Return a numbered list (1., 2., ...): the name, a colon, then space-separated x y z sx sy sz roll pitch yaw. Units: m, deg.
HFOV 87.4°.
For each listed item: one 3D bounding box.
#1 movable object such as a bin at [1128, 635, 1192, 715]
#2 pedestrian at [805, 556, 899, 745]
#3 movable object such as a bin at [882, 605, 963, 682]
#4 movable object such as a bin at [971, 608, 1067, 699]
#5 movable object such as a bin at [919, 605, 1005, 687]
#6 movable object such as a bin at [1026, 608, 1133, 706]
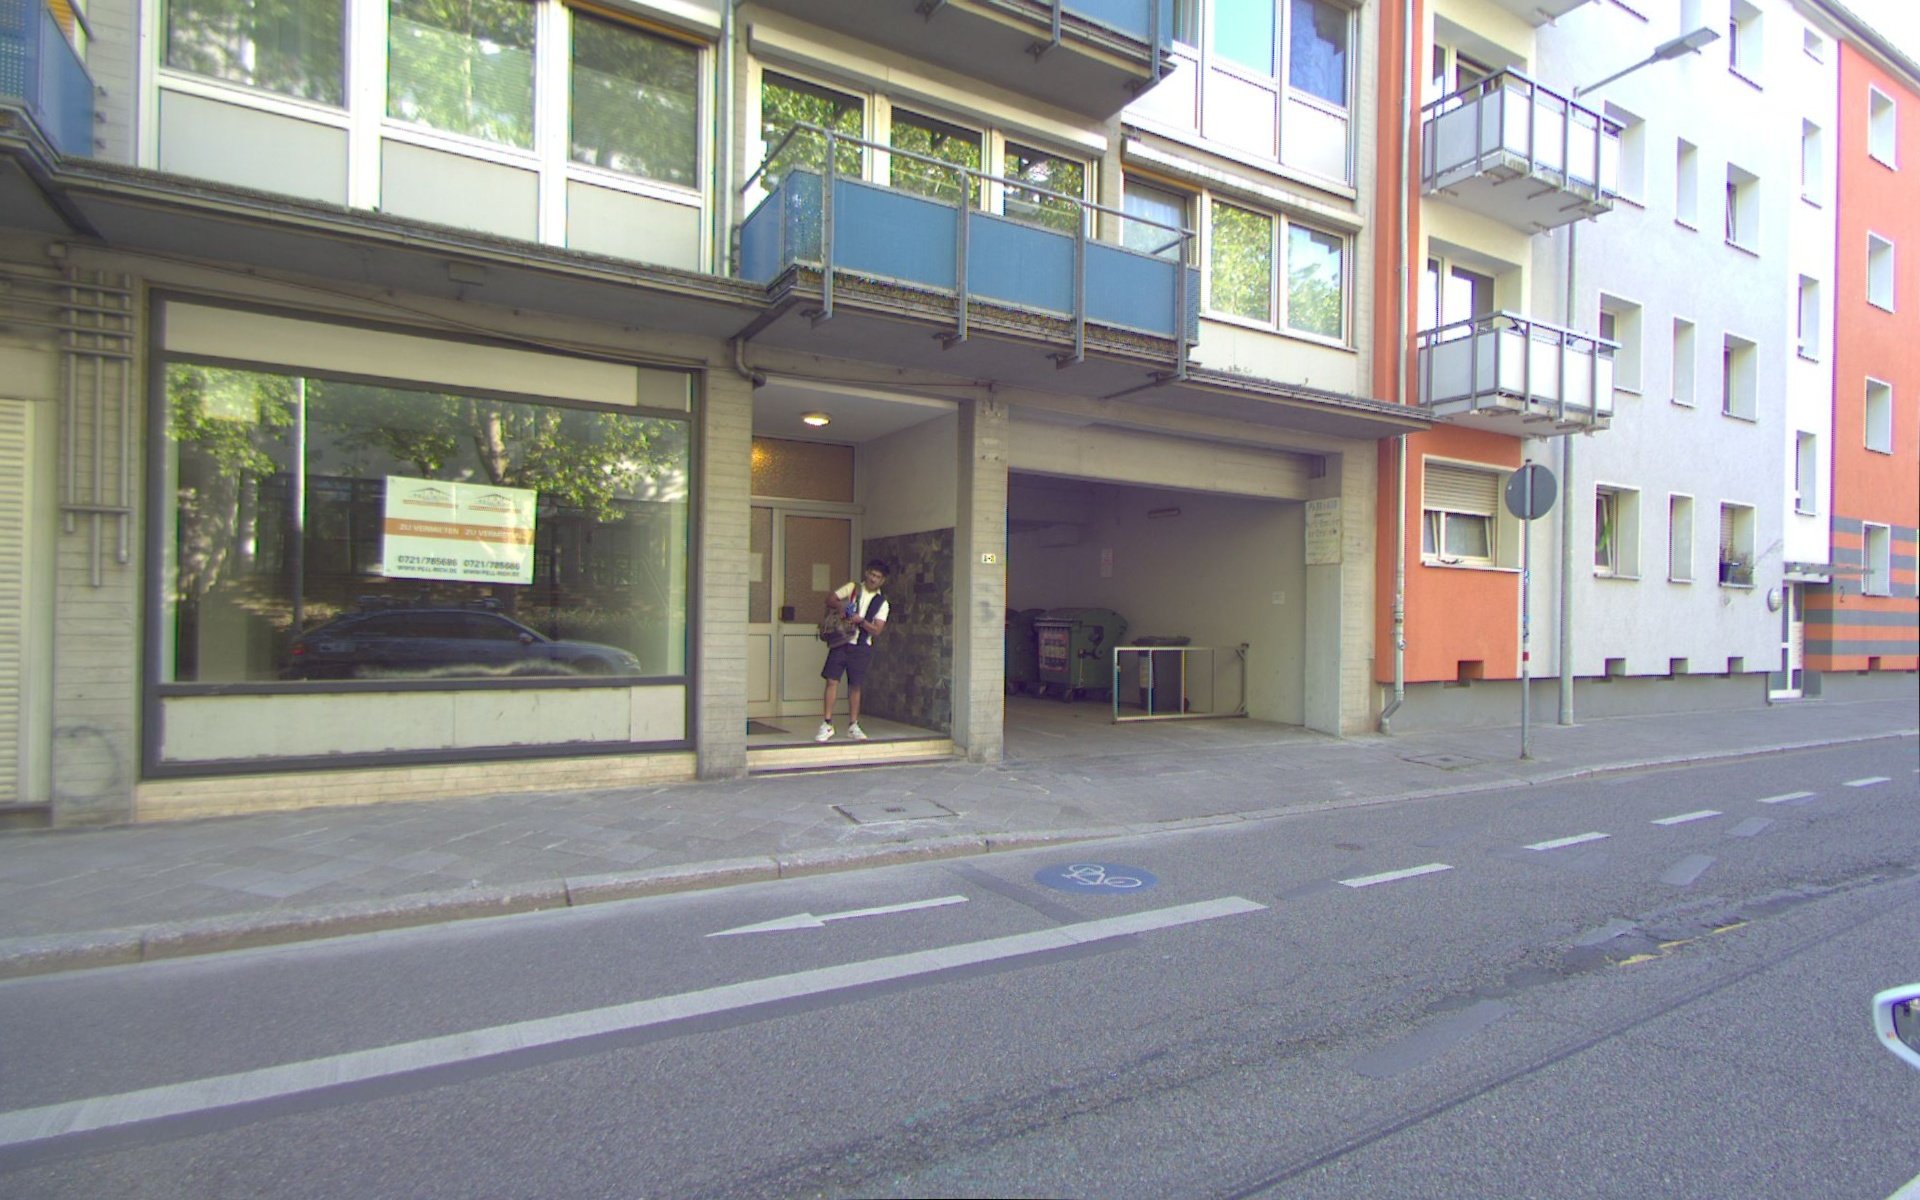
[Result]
1. movable object such as a bin: 2.878 1.073 14.490 0.713 1.094 0.533 2 0 -29
2. pedestrian: -0.986 0.448 9.262 0.778 1.639 0.836 2 0 -5
3. movable object such as a bin: -0.750 0.836 19.791 1.120 1.444 1.268 2 0 -28
4. movable object such as a bin: 0.999 0.891 17.156 1.120 1.444 1.268 2 0 -28
5. movable object such as a bin: 0.023 0.832 18.701 1.120 1.444 1.268 2 0 -28
6. movable object such as a bin: 1.867 0.874 15.814 1.120 1.444 1.268 2 0 -28
